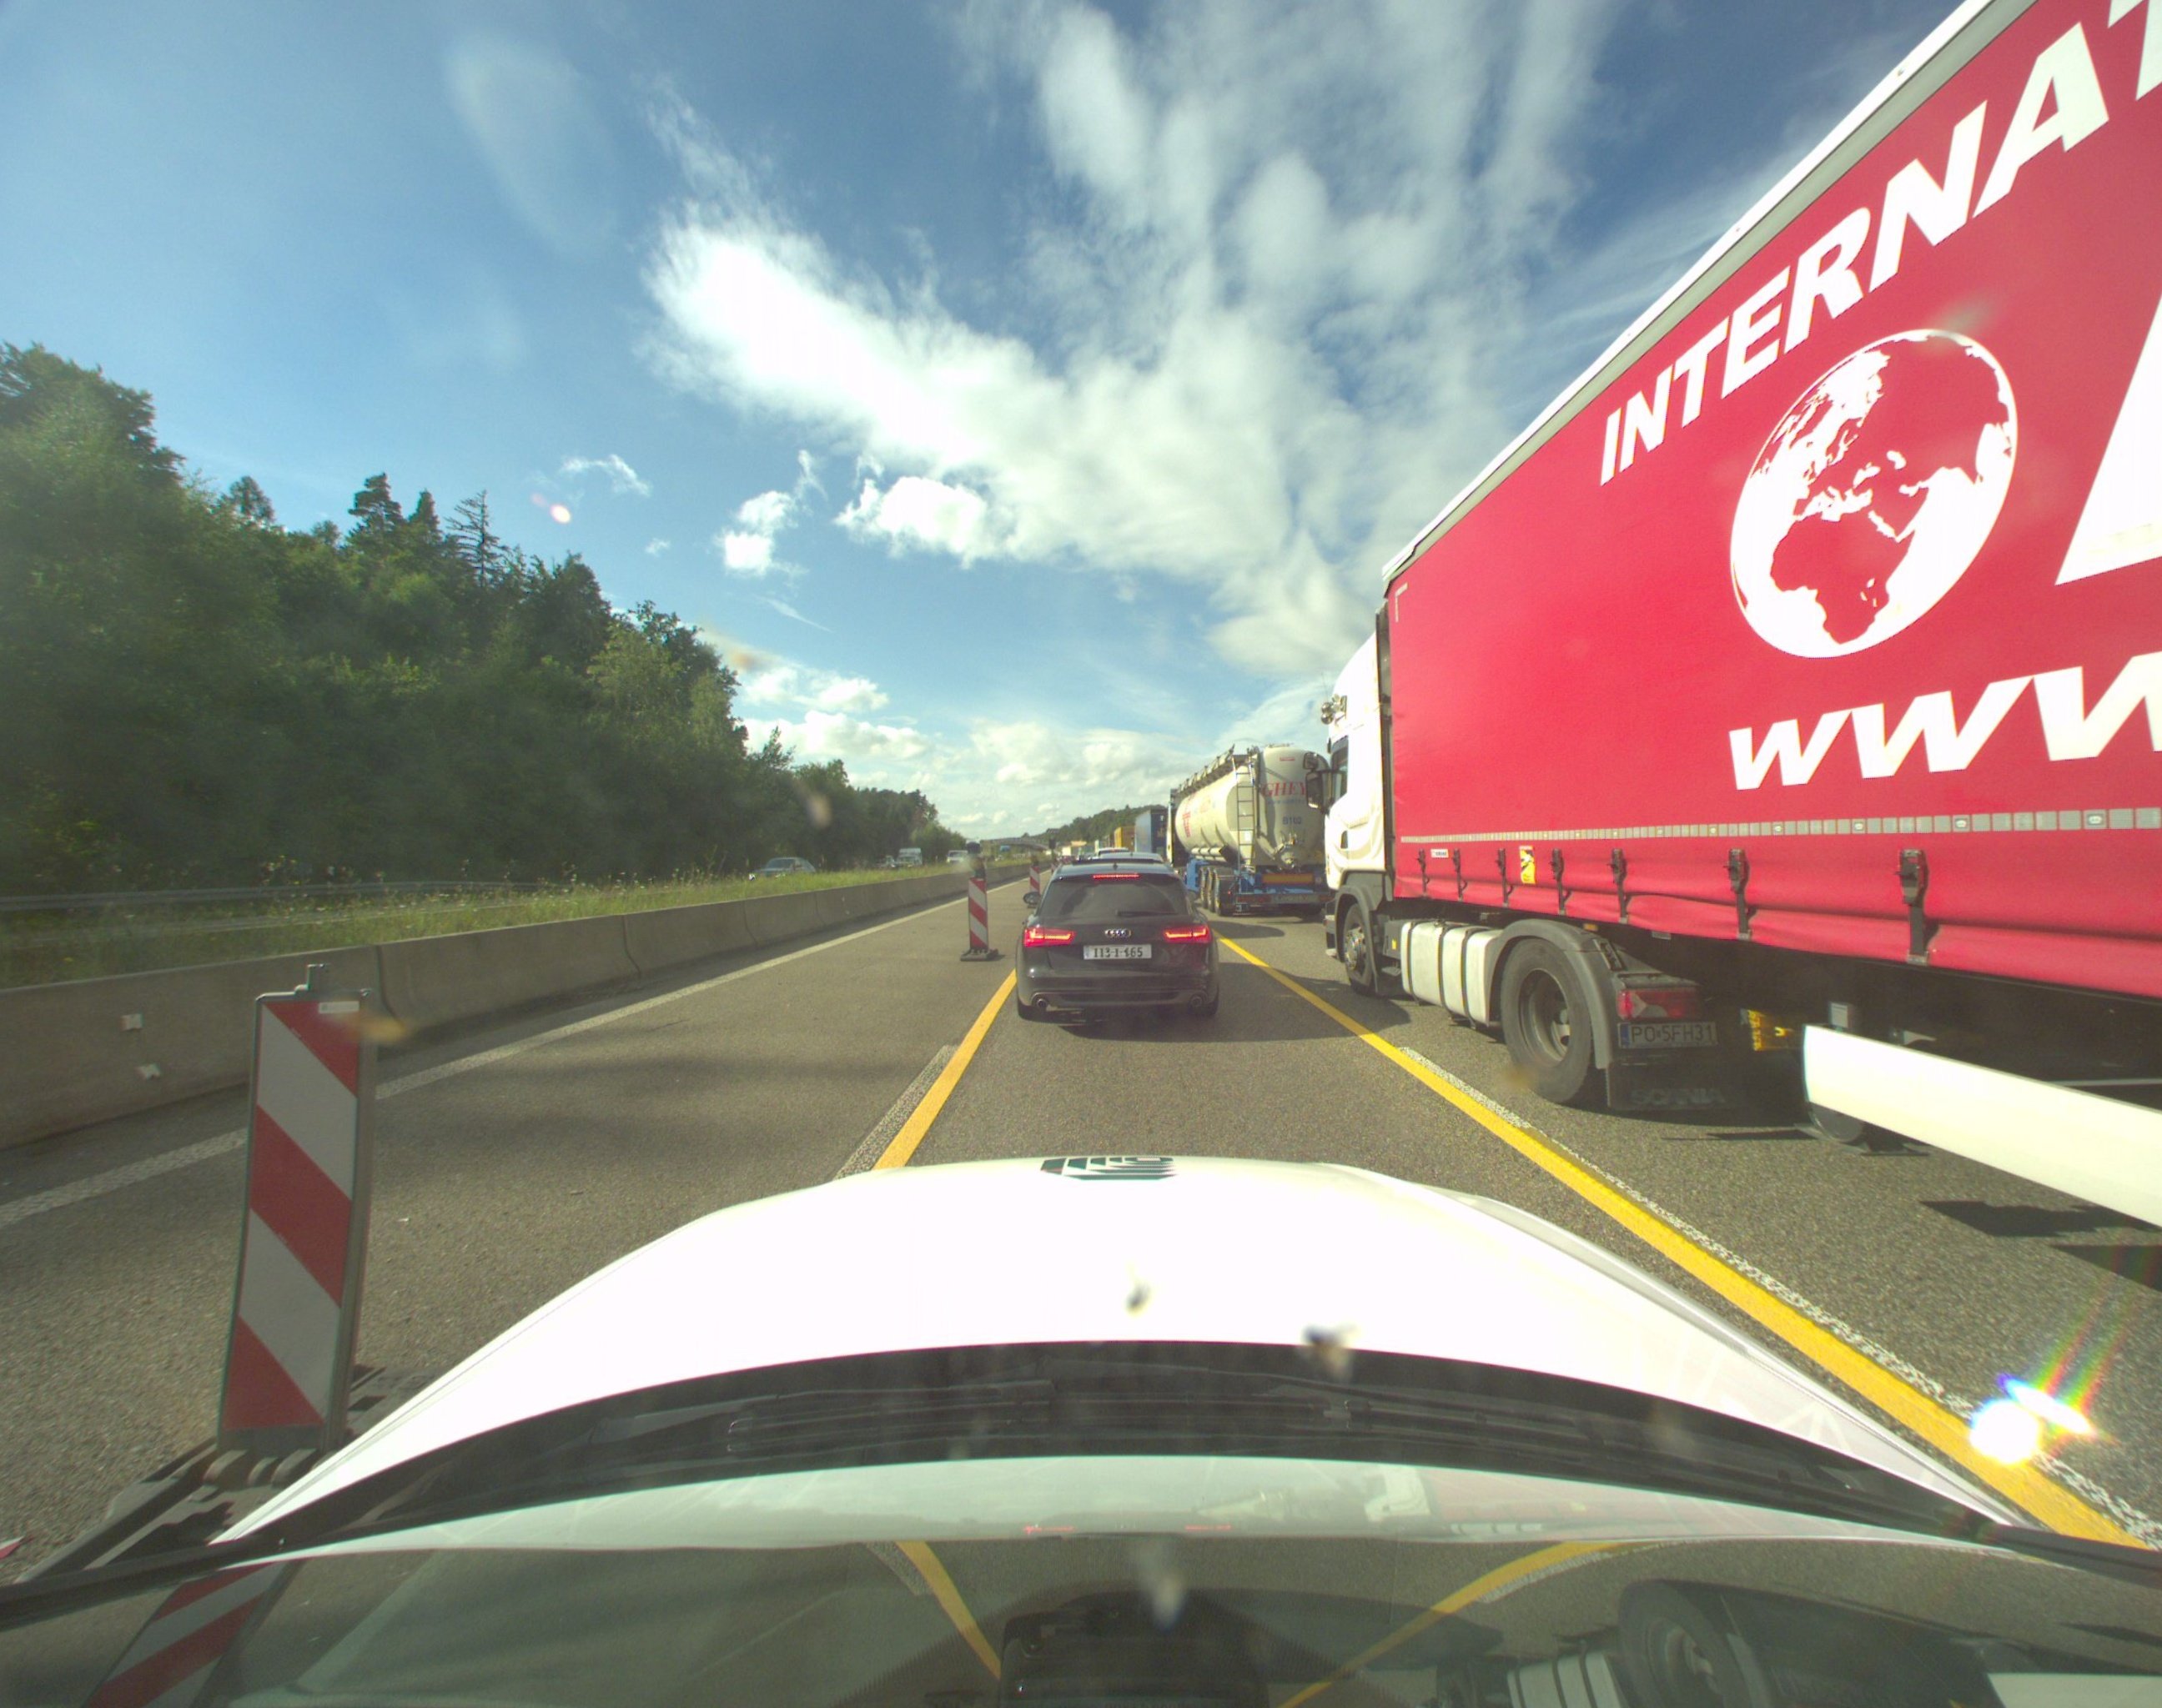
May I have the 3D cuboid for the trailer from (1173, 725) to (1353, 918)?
[{"bbox_3d":[4.461,-0.656,23.057,2.634,3.943,12.602,0,0,2],"label":"trailer"}]

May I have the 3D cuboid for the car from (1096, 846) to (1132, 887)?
[{"bbox_3d":[1.494,0.564,37.590,1.575,1.837,3.113,0,-1,2],"label":"car"}]

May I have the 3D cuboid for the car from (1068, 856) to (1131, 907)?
[{"bbox_3d":[0.567,0.779,24.337,1.745,1.397,3.609,0,-1,2],"label":"car"}]

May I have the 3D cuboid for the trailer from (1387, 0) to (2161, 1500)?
[{"bbox_3d":[3.869,-0.459,0.336,2.690,3.969,13.420,0,0,1],"label":"trailer"}]

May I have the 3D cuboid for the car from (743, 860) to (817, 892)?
[{"bbox_3d":[-14.120,1.000,38.494,1.772,1.387,4.312,0,-1,2],"label":"car"}]

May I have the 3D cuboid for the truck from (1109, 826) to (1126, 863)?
[{"bbox_3d":[5.013,-1.287,112.893,1.987,4.914,9.562,0,0,0],"label":"truck"}]

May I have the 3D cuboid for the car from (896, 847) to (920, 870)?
[{"bbox_3d":[-20.846,0.560,98.401,2.247,2.643,5.009,0,-1,-6],"label":"car"}]

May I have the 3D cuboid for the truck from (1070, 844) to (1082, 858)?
[{"bbox_3d":[-1.543,-0.815,239.883,3.295,4.174,9.696,-1,0,-1],"label":"truck"}]

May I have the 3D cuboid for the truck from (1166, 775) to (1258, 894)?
[{"bbox_3d":[4.701,-0.624,30.239,2.649,3.972,5.780,0,-1,2],"label":"truck"}]

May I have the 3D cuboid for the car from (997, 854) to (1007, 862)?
[{"bbox_3d":[-17.269,0.891,178.332,1.780,1.560,4.001,0,-1,2],"label":"car"}]

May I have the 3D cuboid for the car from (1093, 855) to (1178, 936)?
[{"bbox_3d":[1.024,0.762,16.248,1.518,1.439,3.286,0,-1,2],"label":"car"}]

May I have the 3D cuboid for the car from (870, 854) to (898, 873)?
[{"bbox_3d":[-21.352,1.003,88.541,1.986,2.014,4.001,0,-1,2],"label":"car"}]

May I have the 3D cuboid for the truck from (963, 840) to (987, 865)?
[{"bbox_3d":[-16.792,-0.176,129.157,2.816,3.909,5.951,0,-1,2],"label":"truck"}]

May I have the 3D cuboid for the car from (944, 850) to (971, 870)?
[{"bbox_3d":[-13.442,0.654,88.754,1.986,2.014,4.833,0,-1,2],"label":"car"}]

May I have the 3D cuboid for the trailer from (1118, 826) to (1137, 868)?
[{"bbox_3d":[4.489,-0.640,79.216,1.611,3.918,6.490,0,-1,1],"label":"trailer"}]

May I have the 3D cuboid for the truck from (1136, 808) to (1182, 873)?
[{"bbox_3d":[5.529,-0.874,58.688,2.796,4.370,7.794,0,-1,2],"label":"truck"}]

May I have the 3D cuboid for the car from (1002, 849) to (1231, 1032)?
[{"bbox_3d":[0.351,0.719,8.623,1.842,1.463,4.001,-1,-1,2],"label":"car"}]

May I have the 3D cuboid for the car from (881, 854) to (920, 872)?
[{"bbox_3d":[-14.020,0.684,63.605,1.951,1.363,4.289,0,-1,2],"label":"car"}]

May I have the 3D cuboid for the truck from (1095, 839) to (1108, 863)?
[{"bbox_3d":[3.678,-0.446,146.451,2.130,4.257,7.073,0,-1,1],"label":"truck"}]

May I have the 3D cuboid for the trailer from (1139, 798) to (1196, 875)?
[{"bbox_3d":[5.324,-0.956,51.789,2.795,4.413,10.436,0,-1,2],"label":"trailer"}]

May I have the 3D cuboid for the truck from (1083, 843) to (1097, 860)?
[{"bbox_3d":[2.313,-0.576,208.169,3.293,4.175,9.700,-1,0,0],"label":"truck"}]

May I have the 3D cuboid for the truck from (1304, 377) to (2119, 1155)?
[{"bbox_3d":[3.990,-0.454,7.005,2.658,3.959,5.711,0,0,1],"label":"truck"}]
